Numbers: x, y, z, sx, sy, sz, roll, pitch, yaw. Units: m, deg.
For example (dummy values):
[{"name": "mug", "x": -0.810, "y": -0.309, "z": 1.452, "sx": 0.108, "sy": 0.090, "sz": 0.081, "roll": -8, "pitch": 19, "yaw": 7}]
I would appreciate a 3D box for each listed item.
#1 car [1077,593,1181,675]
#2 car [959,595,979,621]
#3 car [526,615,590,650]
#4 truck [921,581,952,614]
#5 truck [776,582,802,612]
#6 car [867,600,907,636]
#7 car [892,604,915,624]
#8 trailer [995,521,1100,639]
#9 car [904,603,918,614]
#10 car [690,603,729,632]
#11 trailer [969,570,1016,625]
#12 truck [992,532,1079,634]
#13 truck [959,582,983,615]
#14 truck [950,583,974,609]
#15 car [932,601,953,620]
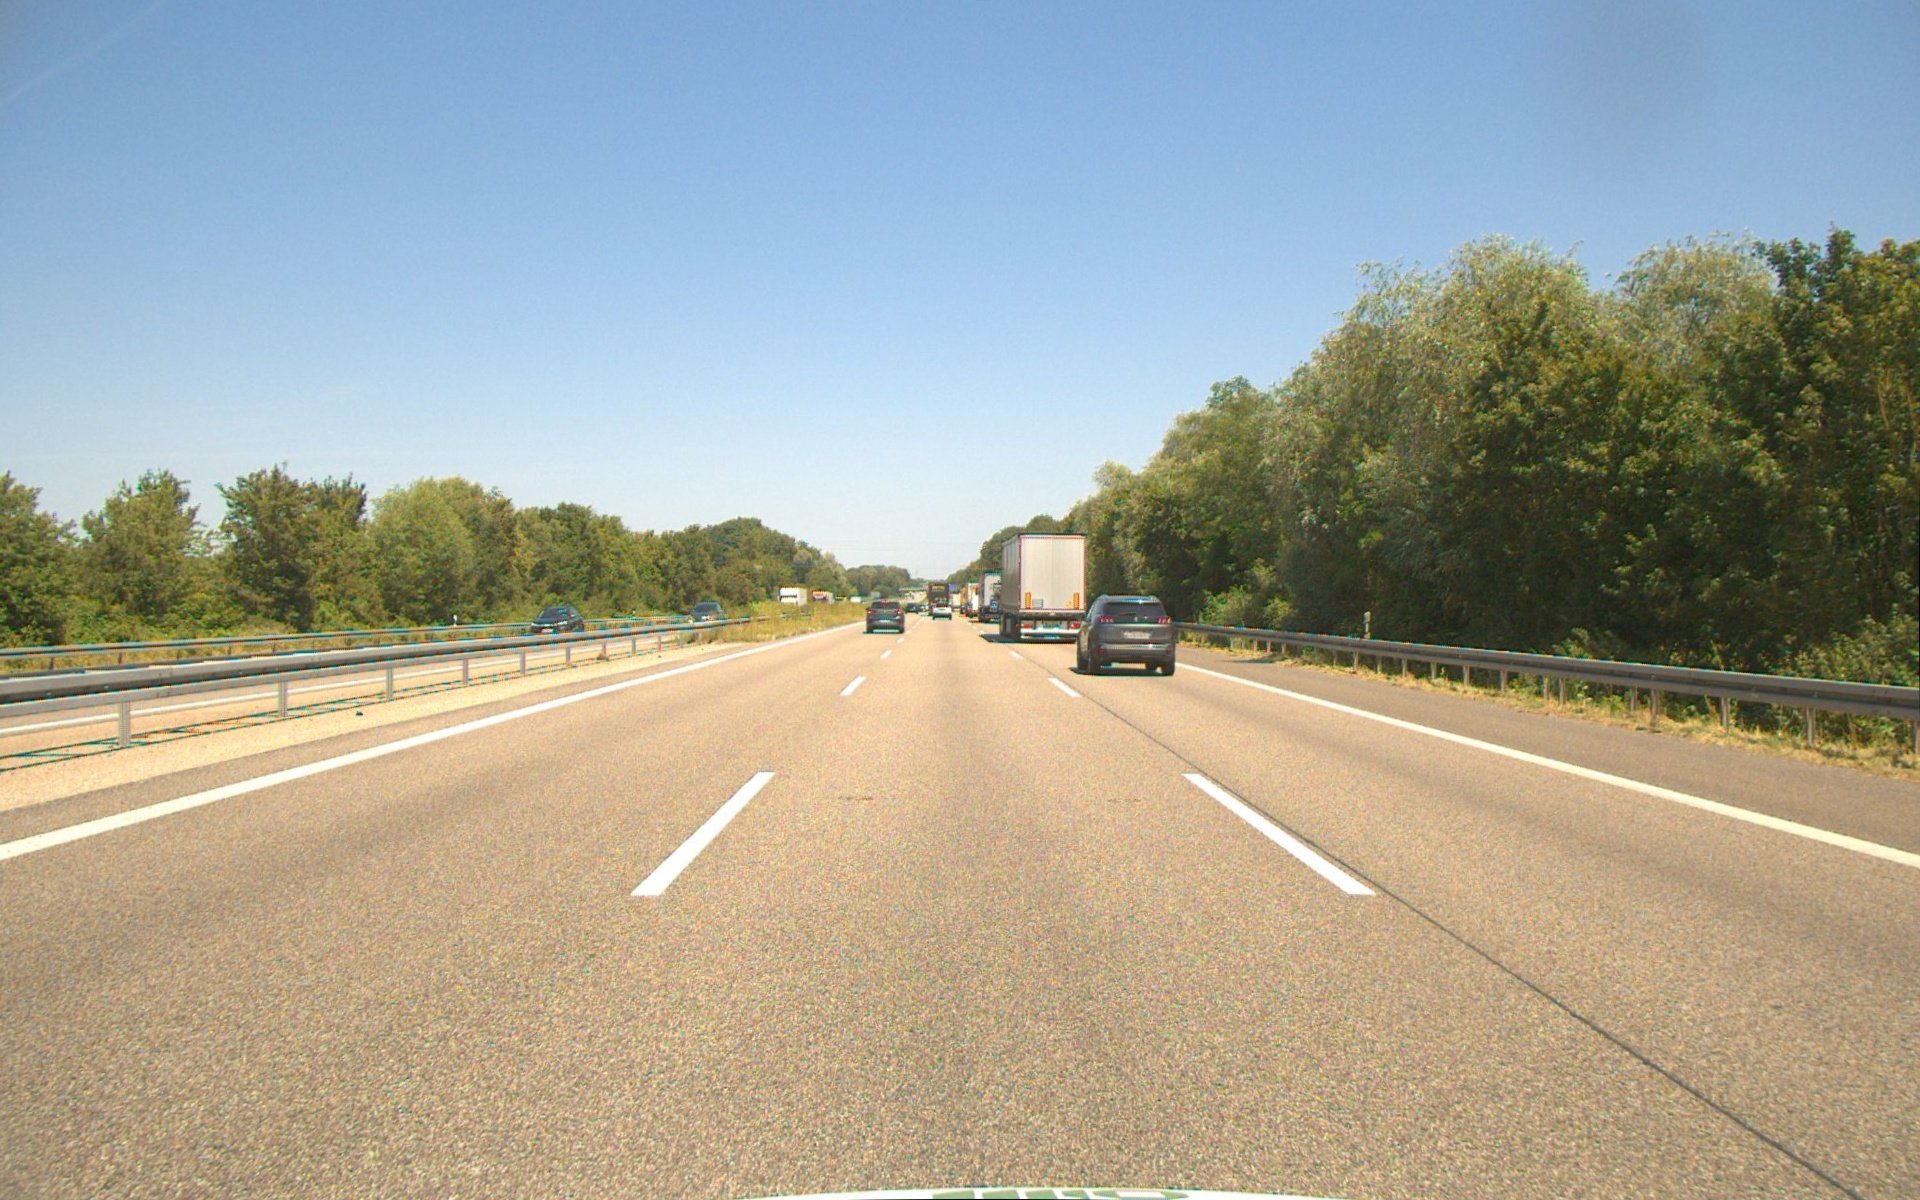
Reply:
[{"name": "car", "x": 3.575, "y": 0.677, "z": 35.636, "sx": 1.807, "sy": 1.657, "sz": 4.134, "roll": 0, "pitch": 0, "yaw": 0}, {"name": "car", "x": 0.915, "y": 0.804, "z": 169.641, "sx": 1.869, "sy": 2.467, "sz": 4.285, "roll": 1, "pitch": 1, "yaw": -1}, {"name": "car", "x": -18.274, "y": 1.447, "z": 75.373, "sx": 1.825, "sy": 1.426, "sz": 4.530, "roll": -2, "pitch": 0, "yaw": -1}, {"name": "truck", "x": -2.805, "y": -0.357, "z": 200.796, "sx": 3.592, "sy": 3.791, "sz": 7.109, "roll": 1, "pitch": 1, "yaw": 0}, {"name": "truck", "x": -23.750, "y": -0.453, "z": 230.507, "sx": 3.009, "sy": 4.183, "sz": 6.524, "roll": 1, "pitch": 1, "yaw": -1}, {"name": "car", "x": -3.461, "y": 0.840, "z": 78.737, "sx": 1.723, "sy": 1.557, "sz": 4.285, "roll": 1, "pitch": 1, "yaw": -1}, {"name": "car", "x": -4.701, "y": 1.181, "z": 138.389, "sx": 1.862, "sy": 1.557, "sz": 4.083, "roll": 1, "pitch": 1, "yaw": -1}, {"name": "trailer", "x": 3.335, "y": -0.715, "z": 66.992, "sx": 3.364, "sy": 4.254, "sz": 13.630, "roll": 1, "pitch": 0, "yaw": 0}, {"name": "car", "x": -7.324, "y": 1.317, "z": 246.941, "sx": 1.869, "sy": 1.557, "sz": 4.285, "roll": 1, "pitch": 1, "yaw": -1}, {"name": "car", "x": -13.584, "y": 0.953, "z": 89.853, "sx": 1.521, "sy": 1.488, "sz": 4.045, "roll": -1, "pitch": 0, "yaw": -1}, {"name": "trailer", "x": 2.422, "y": -0.241, "z": 127.166, "sx": 3.059, "sy": 3.995, "sz": 9.934, "roll": 1, "pitch": 1, "yaw": -2}, {"name": "truck", "x": 3.252, "y": -0.675, "z": 73.100, "sx": 3.393, "sy": 4.250, "sz": 6.843, "roll": 1, "pitch": -1, "yaw": -1}, {"name": "truck", "x": 1.325, "y": -0.219, "z": 193.539, "sx": 2.735, "sy": 3.791, "sz": 7.109, "roll": 1, "pitch": 1, "yaw": 0}, {"name": "truck", "x": 0.350, "y": -0.575, "z": 247.965, "sx": 3.417, "sy": 3.791, "sz": 7.109, "roll": 1, "pitch": 1, "yaw": 0}, {"name": "car", "x": -1.571, "y": 0.941, "z": 150.168, "sx": 1.862, "sy": 1.557, "sz": 4.083, "roll": 1, "pitch": 1, "yaw": -1}]
